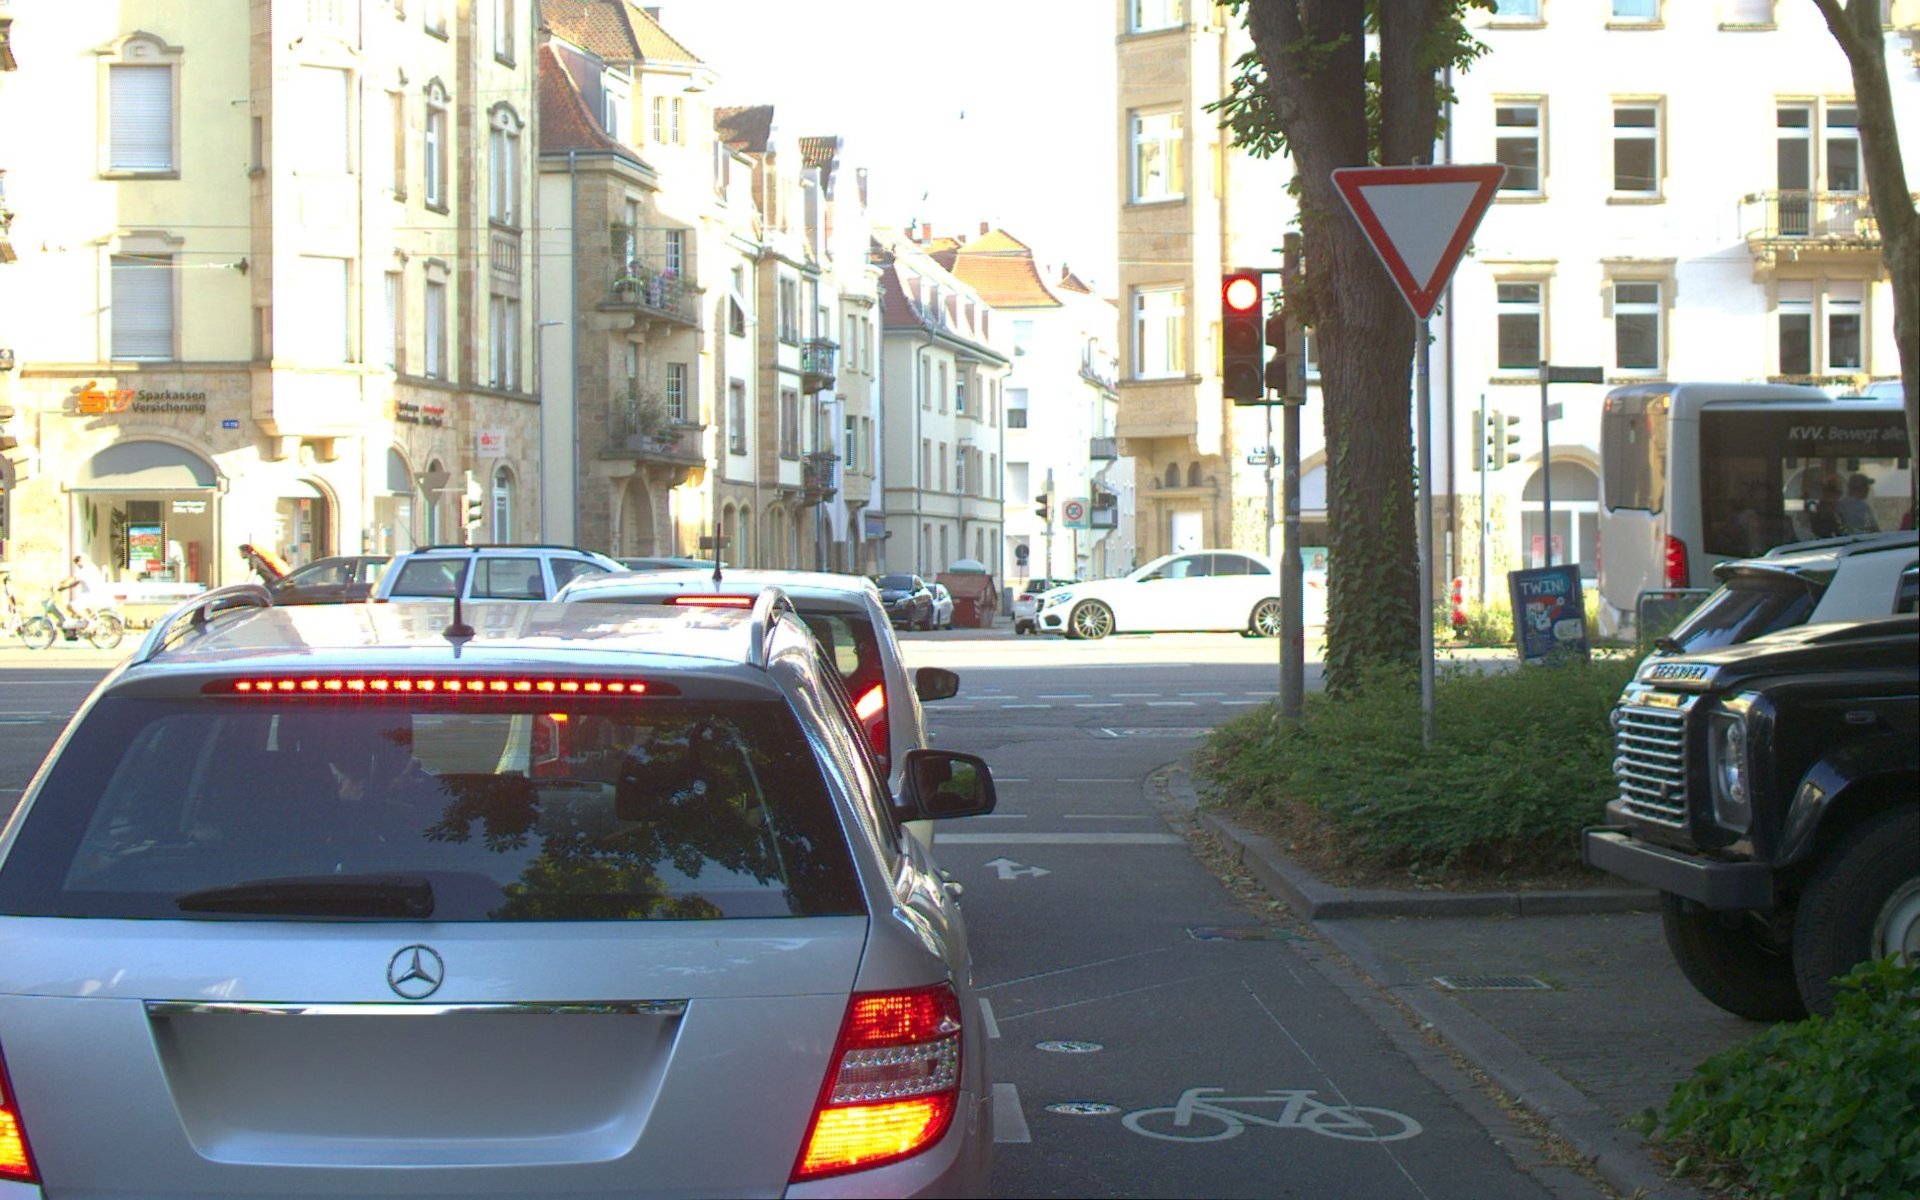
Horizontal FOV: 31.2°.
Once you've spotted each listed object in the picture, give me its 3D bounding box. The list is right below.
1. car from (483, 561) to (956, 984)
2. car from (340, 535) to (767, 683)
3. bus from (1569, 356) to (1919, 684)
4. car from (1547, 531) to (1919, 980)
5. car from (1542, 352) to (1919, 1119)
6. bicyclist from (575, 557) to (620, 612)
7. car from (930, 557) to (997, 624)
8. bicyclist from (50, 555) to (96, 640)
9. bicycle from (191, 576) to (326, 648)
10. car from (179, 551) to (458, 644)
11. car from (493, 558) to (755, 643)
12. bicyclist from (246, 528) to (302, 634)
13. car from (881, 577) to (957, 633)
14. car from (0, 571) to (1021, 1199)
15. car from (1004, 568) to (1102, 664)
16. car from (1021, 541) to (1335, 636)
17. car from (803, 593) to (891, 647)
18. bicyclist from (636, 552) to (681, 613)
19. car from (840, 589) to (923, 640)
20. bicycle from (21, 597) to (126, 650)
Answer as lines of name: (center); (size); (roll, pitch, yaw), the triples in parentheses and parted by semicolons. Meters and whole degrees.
car: (-0.915, 0.573, 14.049); (1.619, 1.442, 4.345); (0, 1, -2)
car: (-4.252, 0.069, 36.111); (4.344, 1.491, 1.662); (0, 1, -7)
bus: (10.711, -0.850, 35.507); (8.173, 3.190, 2.912); (-1, 1, -8)
car: (4.290, 0.509, 13.089); (3.723, 1.564, 1.709); (-1, 0, -4)
car: (4.135, 0.309, 10.119); (4.465, 2.029, 1.701); (-1, 0, -3)
bicyclist: (-7.747, -0.328, 73.459); (0.771, 1.152, 0.752); (1, 1, 11)
car: (0.137, -0.331, 117.347); (1.787, 2.196, 3.999); (0, 1, 8)
bicyclist: (-14.854, -0.046, 57.565); (0.643, 1.421, 0.637); (0, 1, -5)
bicycle: (-12.355, 0.202, 60.593); (2.256, 1.242, 0.637); (0, 1, -5)
car: (-9.735, -0.055, 52.377); (4.033, 1.355, 1.664); (-1, 1, -6)
car: (-5.521, -0.010, 56.479); (4.220, 1.344, 1.665); (0, 1, -6)
bicyclist: (-12.090, -0.340, 60.606); (0.891, 1.853, 0.637); (0, 1, -5)
car: (-1.273, 0.138, 108.759); (1.835, 1.657, 3.999); (0, 1, 8)
car: (-0.898, 0.683, 6.959); (1.777, 1.447, 4.548); (0, 1, -2)
car: (2.345, 0.371, 85.897); (2.031, 2.272, 3.999); (0, 1, 8)
car: (3.419, -0.197, 54.321); (4.702, 1.455, 1.837); (0, 1, -6)
car: (-3.154, 0.538, 97.039); (1.835, 1.397, 3.999); (0, 1, 8)
bicyclist: (-6.440, -0.388, 73.468); (0.771, 1.285, 0.752); (1, 1, 11)
car: (-2.319, 0.412, 102.530); (1.835, 1.397, 3.999); (0, 1, 8)
bicycle: (-14.843, 0.390, 57.566); (1.617, 0.873, 0.637); (0, 1, -5)
